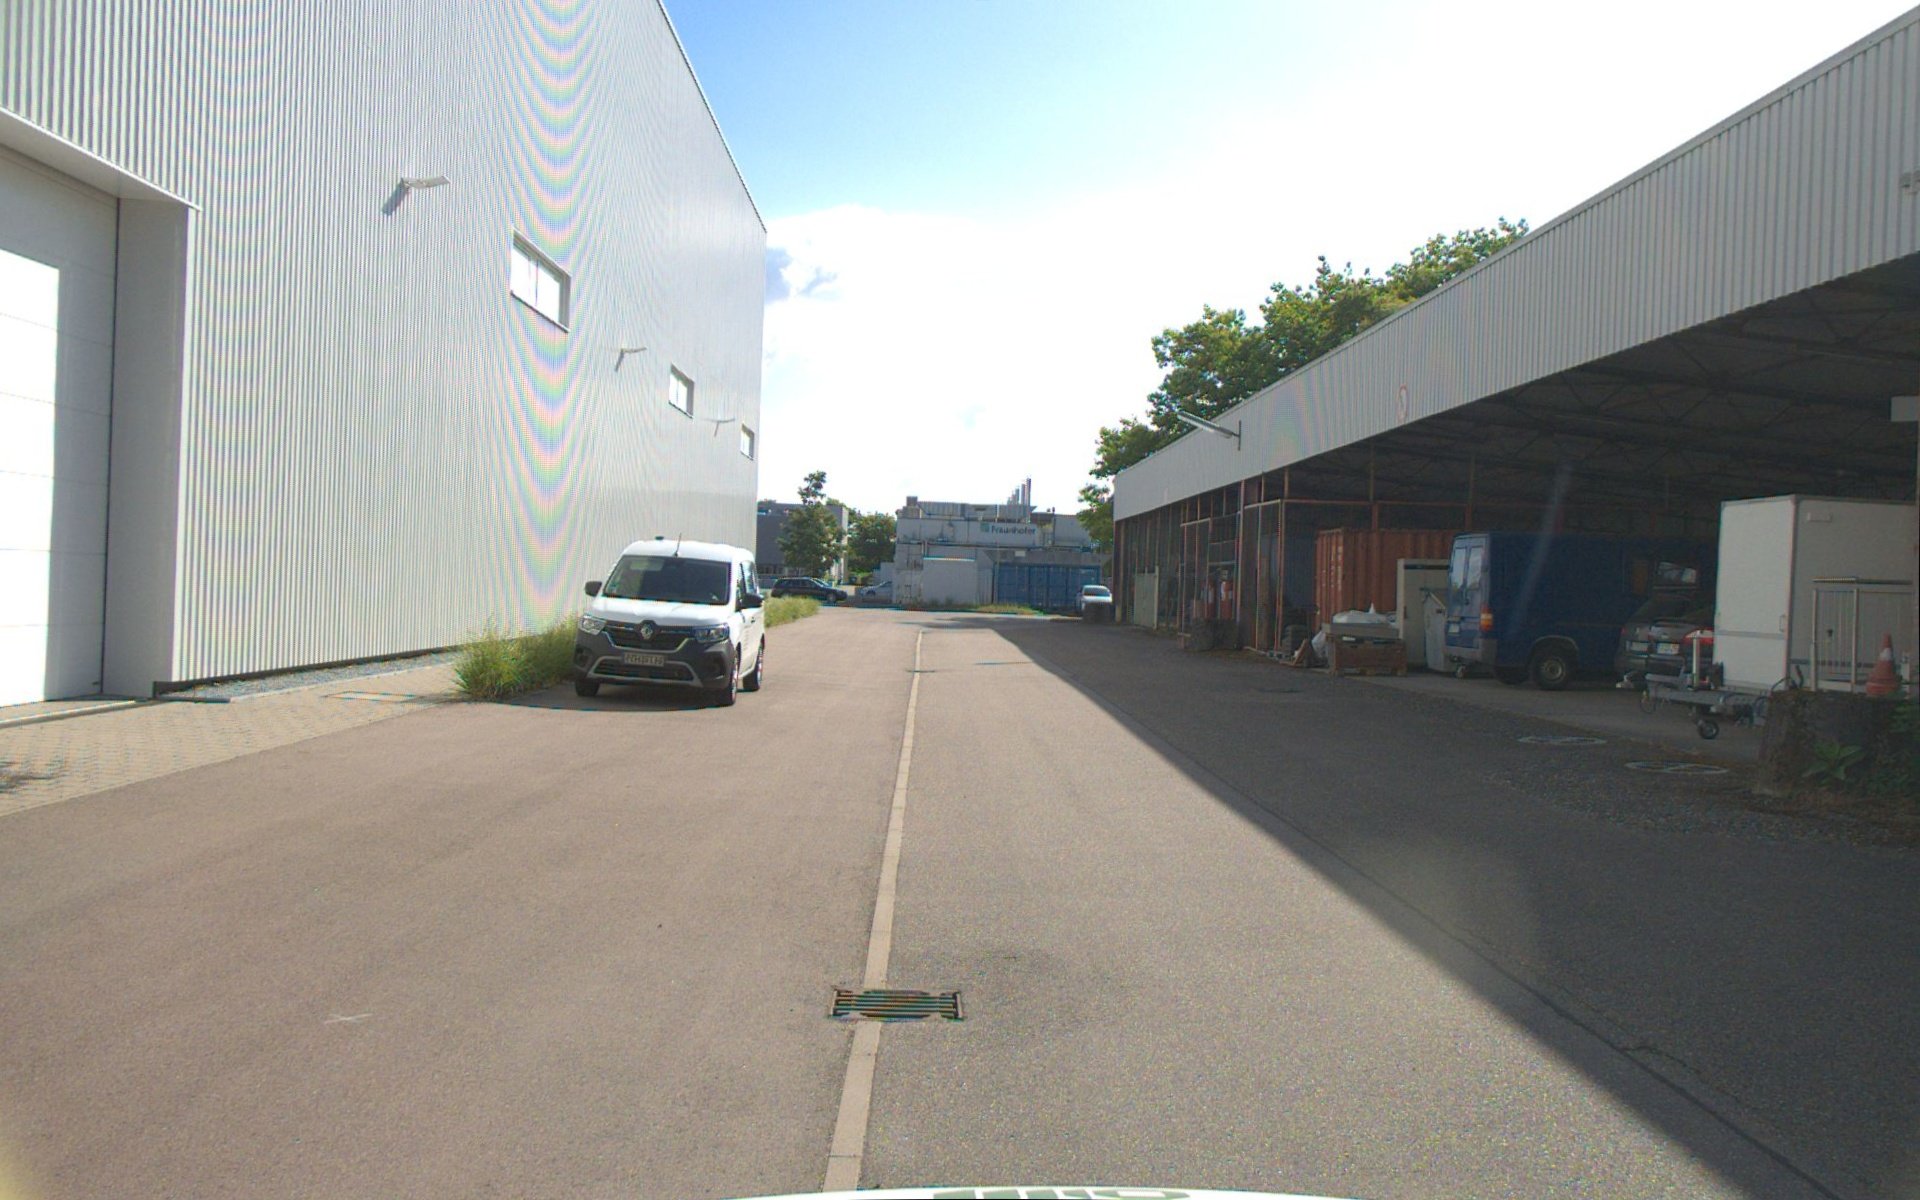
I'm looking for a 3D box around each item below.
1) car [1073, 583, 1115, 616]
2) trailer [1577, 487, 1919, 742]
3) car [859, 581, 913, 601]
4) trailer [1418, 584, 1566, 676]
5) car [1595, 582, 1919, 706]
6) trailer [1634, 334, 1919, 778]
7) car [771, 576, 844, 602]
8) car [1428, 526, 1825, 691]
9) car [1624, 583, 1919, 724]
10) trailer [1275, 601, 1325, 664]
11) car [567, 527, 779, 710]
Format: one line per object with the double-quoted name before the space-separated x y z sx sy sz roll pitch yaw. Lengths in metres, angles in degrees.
"car" 7.236 -0.046 89.654 1.939 1.630 4.378 0 2 0
"trailer" 8.778 0.138 16.596 4.424 2.383 2.047 0 0 0
"car" -5.787 -0.691 129.684 4.216 1.483 1.823 1 0 -2
"trailer" 8.974 0.486 28.012 1.996 1.492 1.739 0 0 3
"car" 10.858 0.577 22.291 3.886 1.540 1.838 1 0 -4
"trailer" 11.355 -0.321 14.160 10.059 3.401 2.801 0 0 -1
"car" -9.349 -0.666 101.698 4.358 1.557 1.823 1 0 -2
"car" 10.134 0.130 25.426 5.225 2.321 2.152 1 0 -2
"car" 10.167 0.604 19.189 4.164 1.497 1.868 1 1 -4
"trailer" 6.371 0.599 31.058 0.541 1.138 1.546 0 0 -3
"car" -3.306 0.188 19.889 1.747 1.847 4.600 3 0 -1
